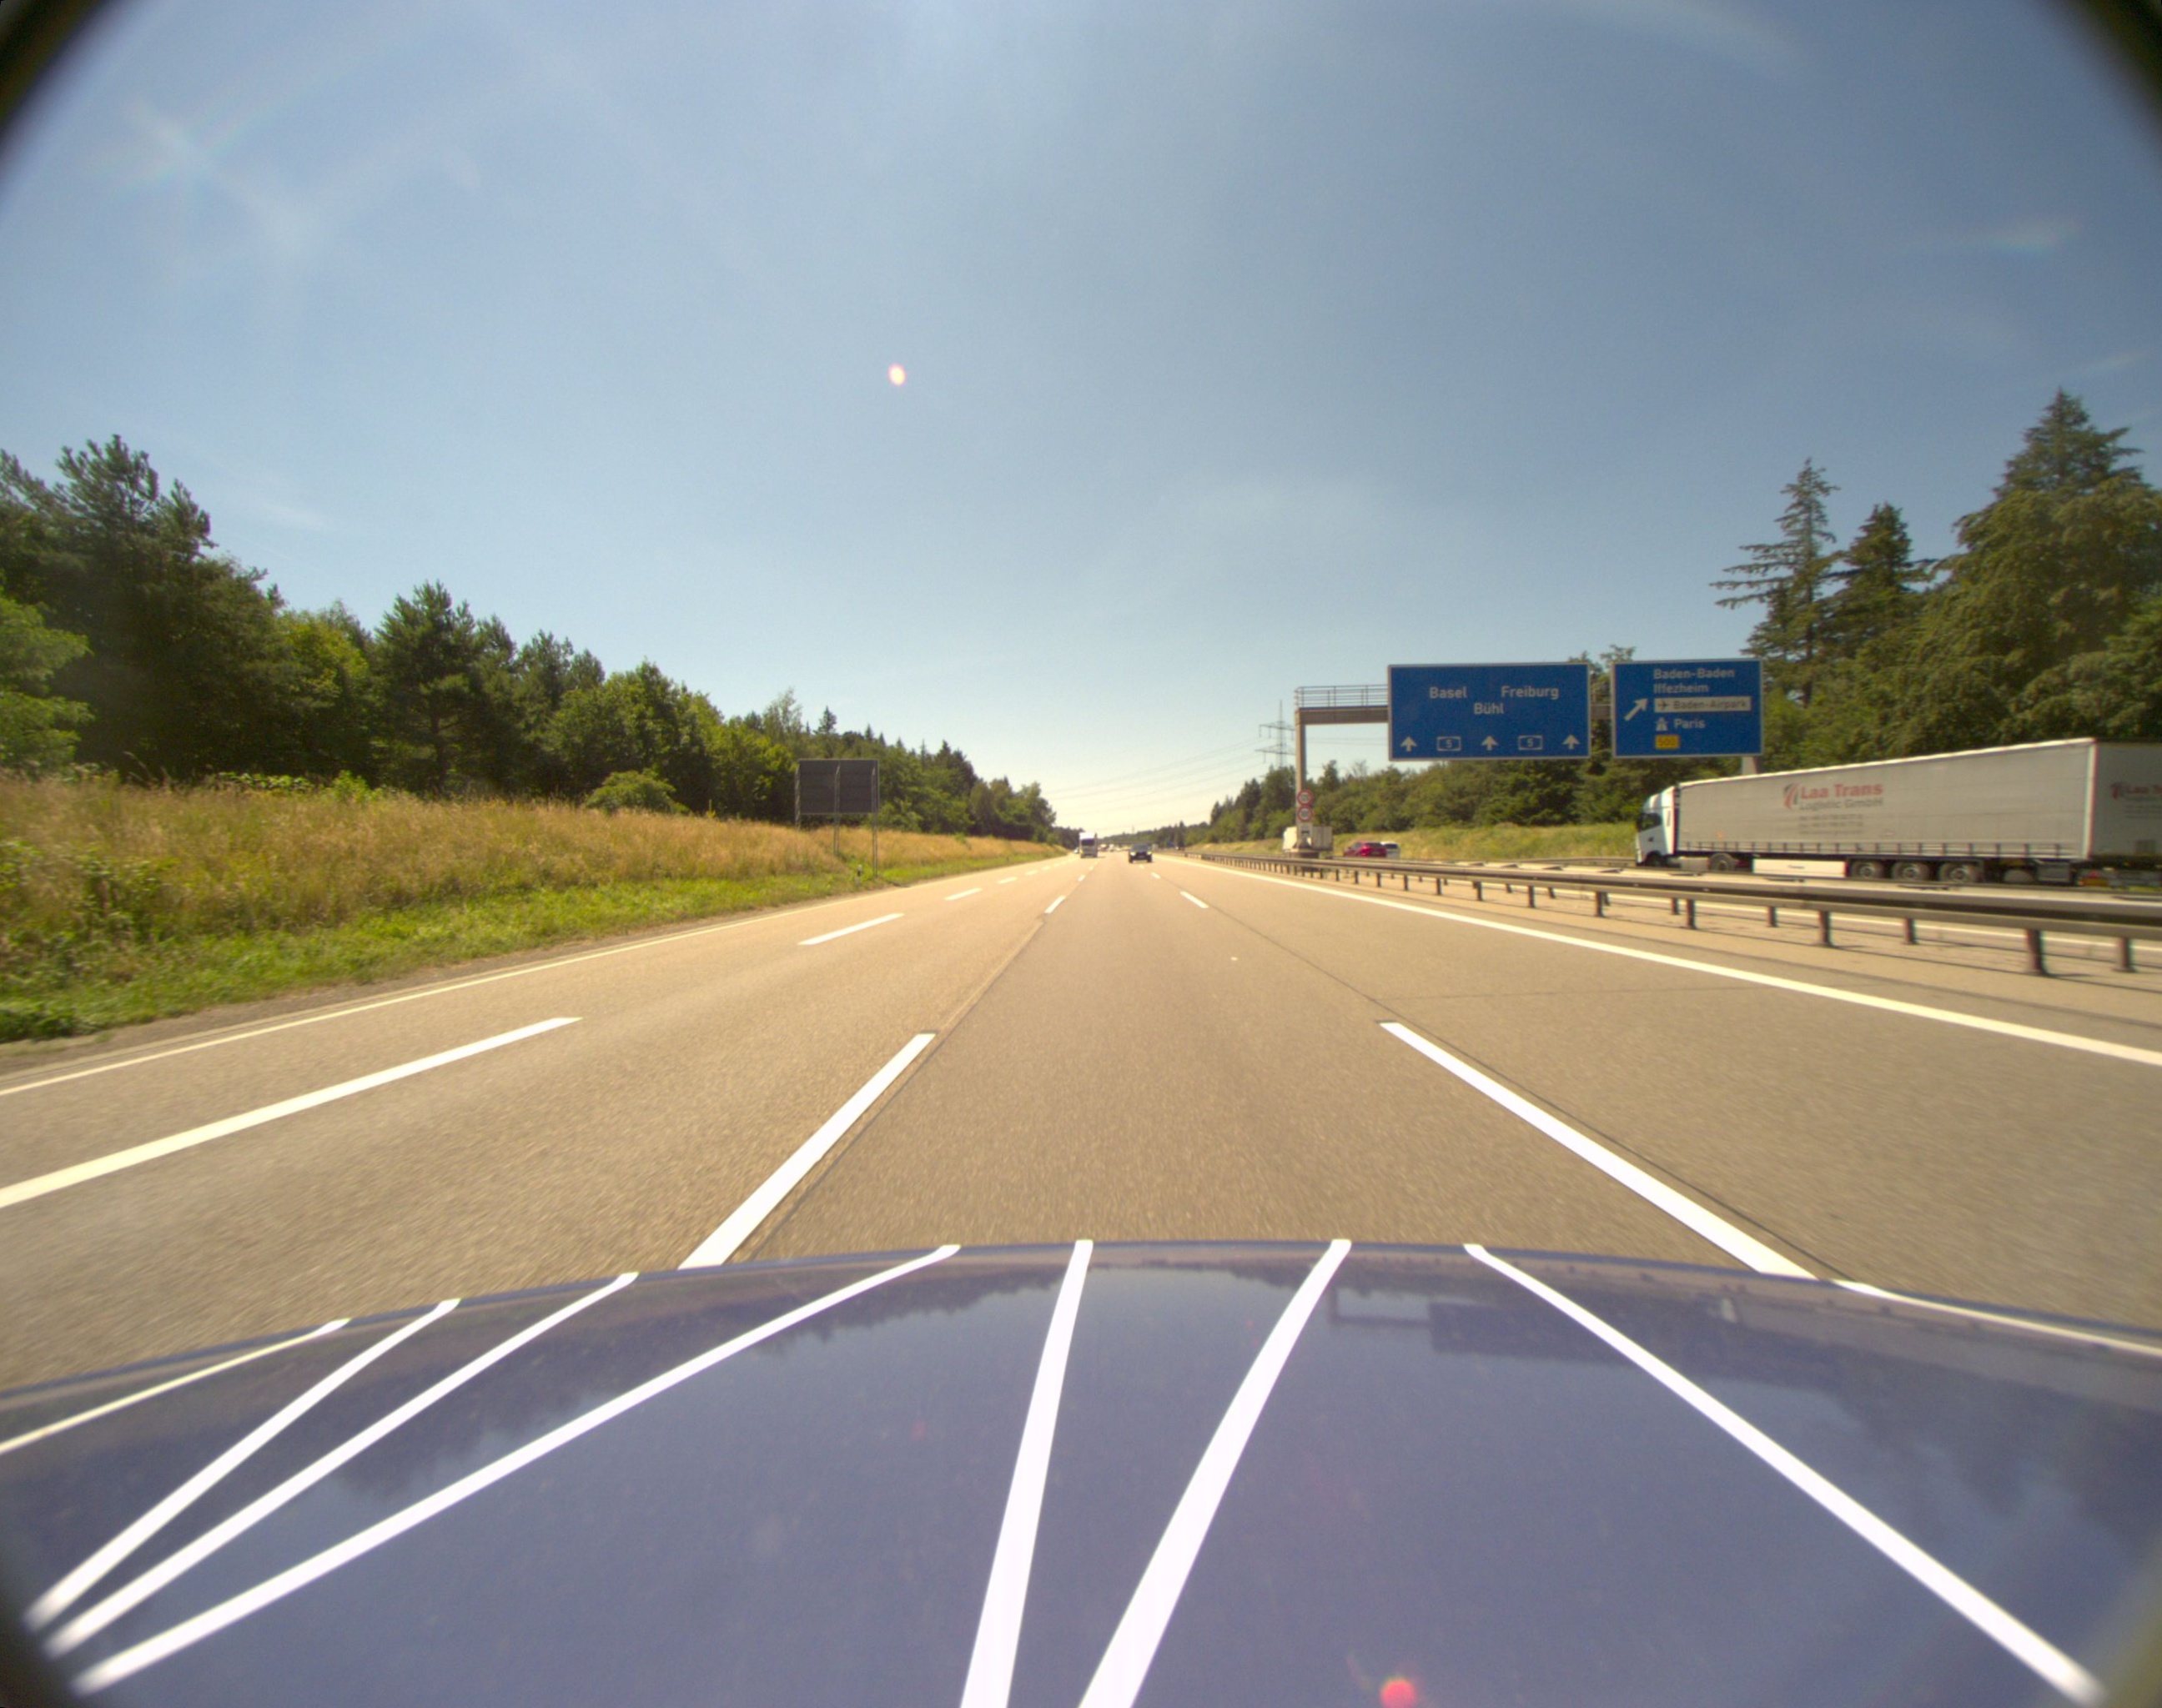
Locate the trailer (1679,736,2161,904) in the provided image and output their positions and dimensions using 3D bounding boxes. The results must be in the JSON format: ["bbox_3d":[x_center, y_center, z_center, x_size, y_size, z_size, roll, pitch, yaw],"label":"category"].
[{"bbox_3d":[26.250,-0.955,24.903,3.175,3.908,13.965,-2,1,4],"label":"trailer"}]

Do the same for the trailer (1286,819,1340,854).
[{"bbox_3d":[29.136,-2.132,96.271,3.221,4.019,14.362,-2,1,4],"label":"trailer"}]

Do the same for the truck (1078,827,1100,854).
[{"bbox_3d":[1.275,-2.117,120.262,2.979,4.118,5.350,-2,0,4],"label":"truck"}]

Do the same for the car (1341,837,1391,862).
[{"bbox_3d":[20.074,-0.357,53.706,1.851,1.601,4.921,-2,1,2],"label":"car"}]

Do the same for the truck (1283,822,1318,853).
[{"bbox_3d":[29.626,-2.259,102.935,3.221,3.995,6.216,-2,1,4],"label":"truck"}]

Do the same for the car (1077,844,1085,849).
[{"bbox_3d":[0.037,-2.231,234.245,1.898,1.417,4.262,-3,1,4],"label":"car"}]

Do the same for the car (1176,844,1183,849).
[{"bbox_3d":[32.388,-2.541,250.988,1.830,1.501,4.743,-1,1,2],"label":"car"}]

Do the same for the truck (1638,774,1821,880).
[{"bbox_3d":[26.739,-1.062,31.715,3.175,3.908,5.400,-2,1,4],"label":"truck"}]

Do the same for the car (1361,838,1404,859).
[{"bbox_3d":[27.295,-0.521,68.978,1.998,1.739,4.990,-2,1,2],"label":"car"}]

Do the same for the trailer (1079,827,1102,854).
[{"bbox_3d":[1.577,-2.111,123.023,2.981,4.118,11.698,-2,0,4],"label":"trailer"}]

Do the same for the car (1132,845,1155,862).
[{"bbox_3d":[5.700,-0.080,69.354,1.898,1.417,4.262,-3,1,4],"label":"car"}]
